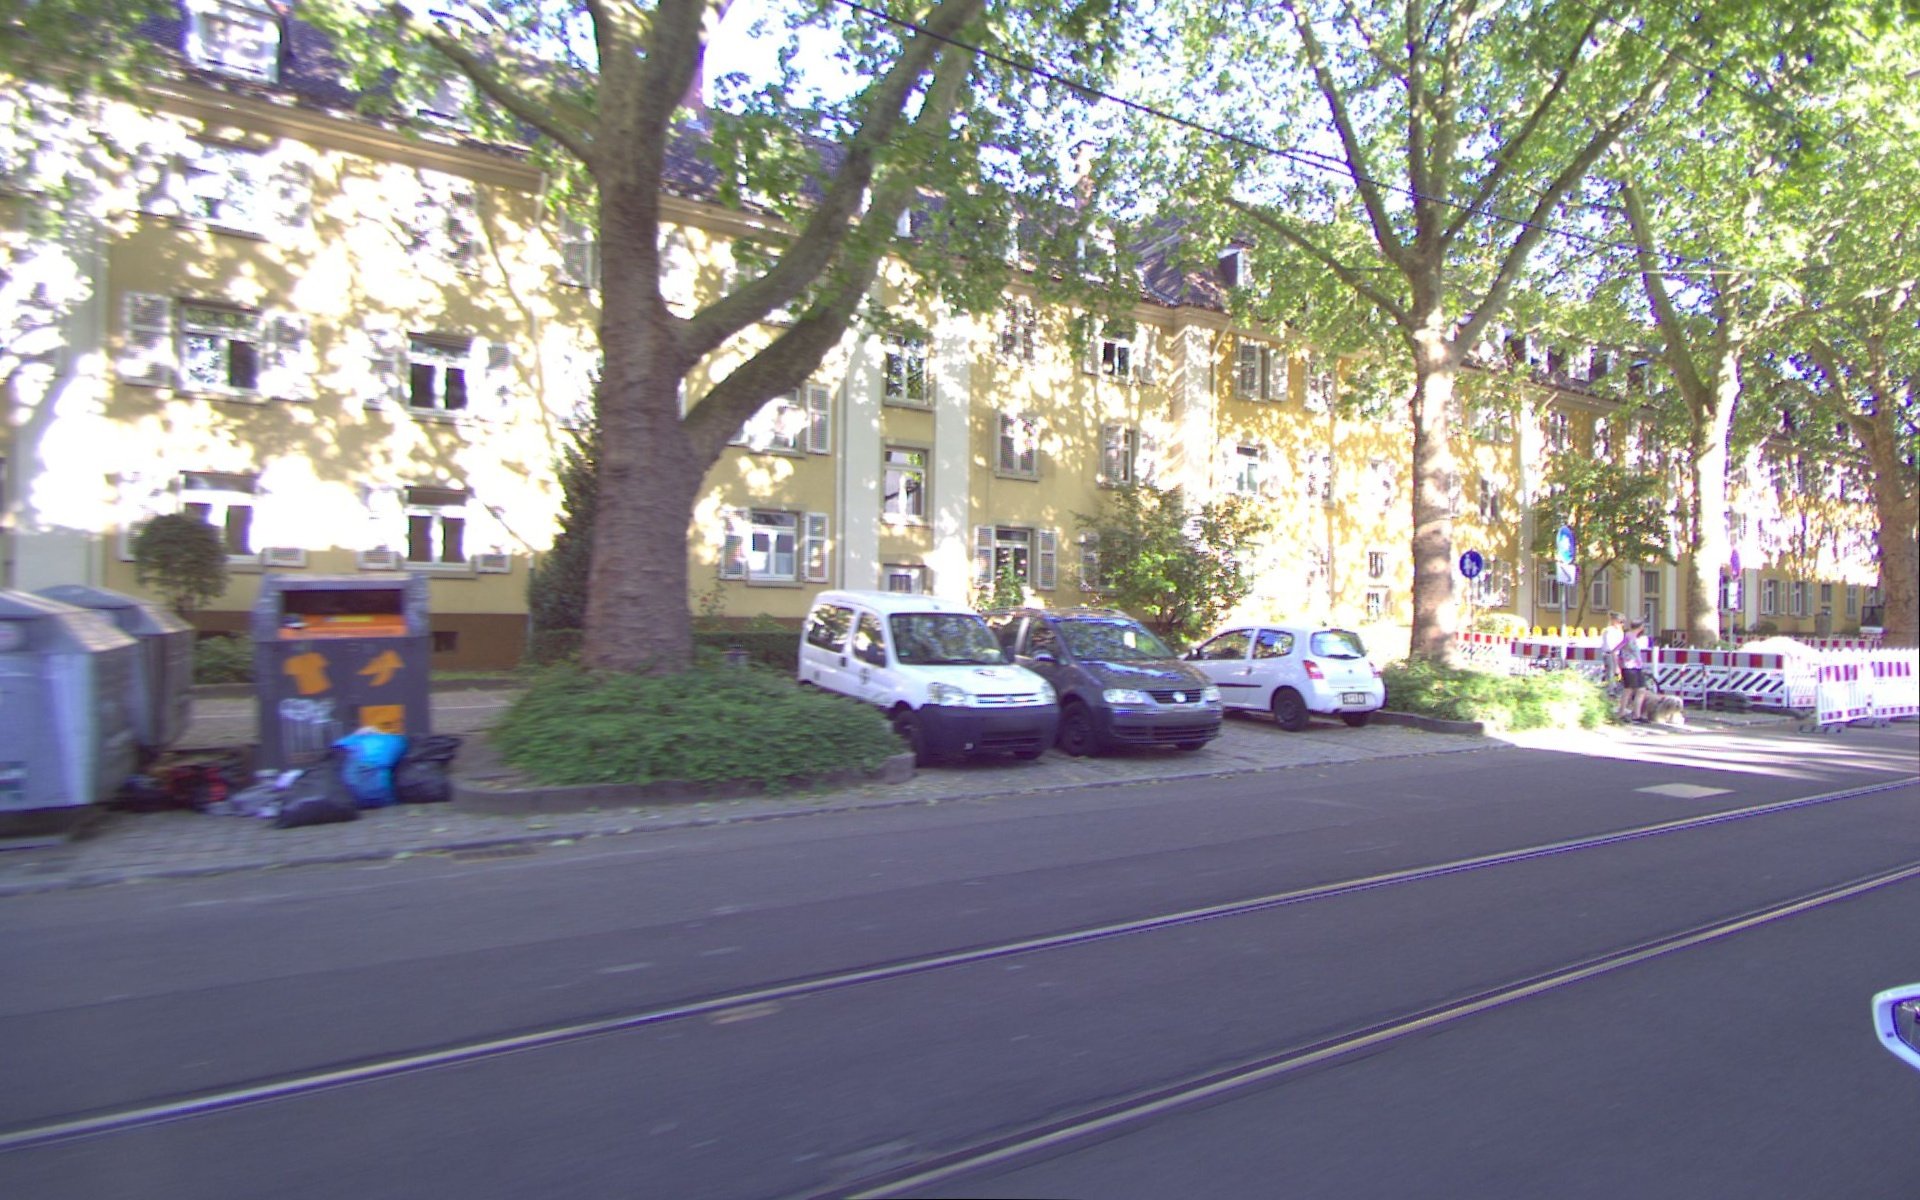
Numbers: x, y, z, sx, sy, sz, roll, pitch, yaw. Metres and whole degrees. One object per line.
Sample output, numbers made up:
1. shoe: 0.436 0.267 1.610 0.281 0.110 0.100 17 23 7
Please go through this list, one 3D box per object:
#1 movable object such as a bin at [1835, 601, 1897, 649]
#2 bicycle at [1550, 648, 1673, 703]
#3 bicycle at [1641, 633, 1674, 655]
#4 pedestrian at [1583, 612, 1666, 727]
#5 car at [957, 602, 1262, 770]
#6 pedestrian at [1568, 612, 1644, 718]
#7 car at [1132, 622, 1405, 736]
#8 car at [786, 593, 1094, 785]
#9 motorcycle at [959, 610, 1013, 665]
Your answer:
1. movable object such as a bin: 37.152 1.013 41.174 1.984 1.893 1.327 2 0 -30
2. bicycle: 12.935 1.476 20.013 0.717 0.975 1.964 1 -1 -28
3. bicycle: 27.295 1.731 39.290 1.627 0.829 0.503 1 -1 -34
4. pedestrian: 10.610 1.085 16.052 0.787 1.768 0.818 2 0 -30
5. car: 1.641 0.939 12.614 1.905 1.710 4.226 1 -2 -23
6. pedestrian: 11.235 1.113 17.478 0.787 1.768 0.818 2 0 -30
7. car: 4.575 1.098 15.431 1.840 1.517 3.830 1 -2 -29
8. car: -0.438 0.844 11.569 1.720 1.781 4.178 1 -1 -30
9. motorcycle: 0.600 0.869 23.918 0.516 1.257 1.703 1 -1 -28
